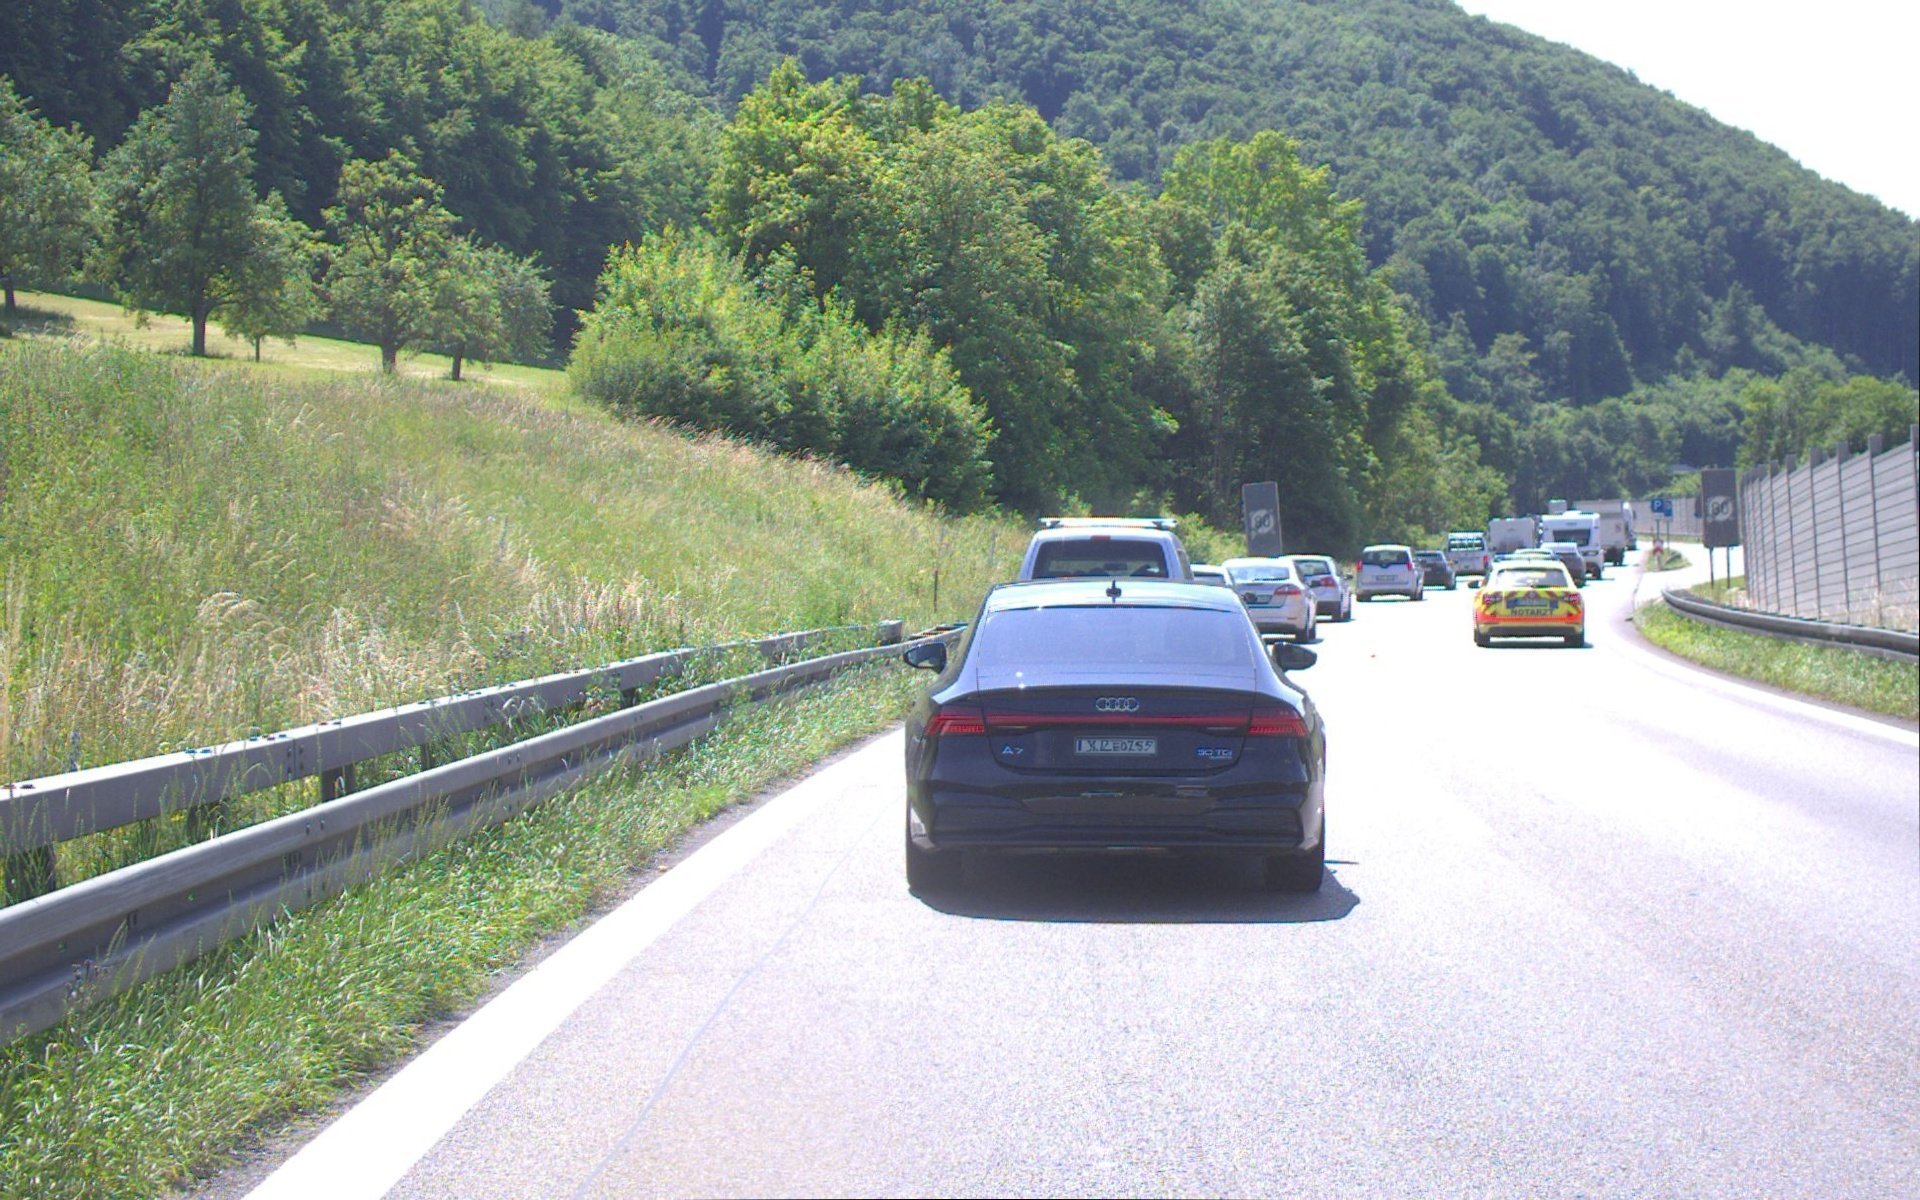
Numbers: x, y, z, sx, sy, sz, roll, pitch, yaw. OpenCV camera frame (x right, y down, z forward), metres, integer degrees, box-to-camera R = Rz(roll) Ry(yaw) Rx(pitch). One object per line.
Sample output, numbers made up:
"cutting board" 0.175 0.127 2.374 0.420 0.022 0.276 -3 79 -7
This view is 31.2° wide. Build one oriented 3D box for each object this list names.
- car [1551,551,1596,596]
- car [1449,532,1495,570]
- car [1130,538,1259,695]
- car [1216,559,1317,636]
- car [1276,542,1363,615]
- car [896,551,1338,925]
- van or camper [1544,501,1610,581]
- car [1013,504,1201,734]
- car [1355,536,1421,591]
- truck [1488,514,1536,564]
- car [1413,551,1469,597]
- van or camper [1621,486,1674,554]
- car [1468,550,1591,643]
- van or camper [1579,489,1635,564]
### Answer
"car" 21.892 -0.932 122.624 1.488 1.565 2.999 1 1 12
"car" 21.527 -2.043 144.493 1.522 1.547 3.512 2 1 14
"car" 3.056 0.190 44.316 1.540 1.918 3.478 1 1 5
"car" 5.441 -0.056 60.725 1.521 1.290 3.513 1 1 9
"car" 8.030 -0.494 76.524 1.522 1.547 3.512 2 1 12
"car" 0.777 0.547 16.095 1.812 1.509 3.514 1 1 4
"van or camper" 24.959 -2.351 138.972 2.430 3.144 5.201 1 1 12
"car" 1.399 0.133 31.646 1.521 1.961 3.514 2 1 5
"car" 12.495 -1.064 100.246 1.522 1.547 3.512 2 1 13
"truck" 29.762 -3.267 185.145 2.066 2.596 5.610 2 1 13
"car" 16.902 -0.929 120.731 1.522 1.547 3.512 2 1 14
"van or camper" 39.807 -4.628 199.254 2.796 3.828 6.164 1 1 10
"car" 9.759 -0.087 58.708 1.880 1.493 3.998 -1 1 12
"van or camper" 34.272 -3.863 182.245 2.796 3.894 6.164 1 1 10
